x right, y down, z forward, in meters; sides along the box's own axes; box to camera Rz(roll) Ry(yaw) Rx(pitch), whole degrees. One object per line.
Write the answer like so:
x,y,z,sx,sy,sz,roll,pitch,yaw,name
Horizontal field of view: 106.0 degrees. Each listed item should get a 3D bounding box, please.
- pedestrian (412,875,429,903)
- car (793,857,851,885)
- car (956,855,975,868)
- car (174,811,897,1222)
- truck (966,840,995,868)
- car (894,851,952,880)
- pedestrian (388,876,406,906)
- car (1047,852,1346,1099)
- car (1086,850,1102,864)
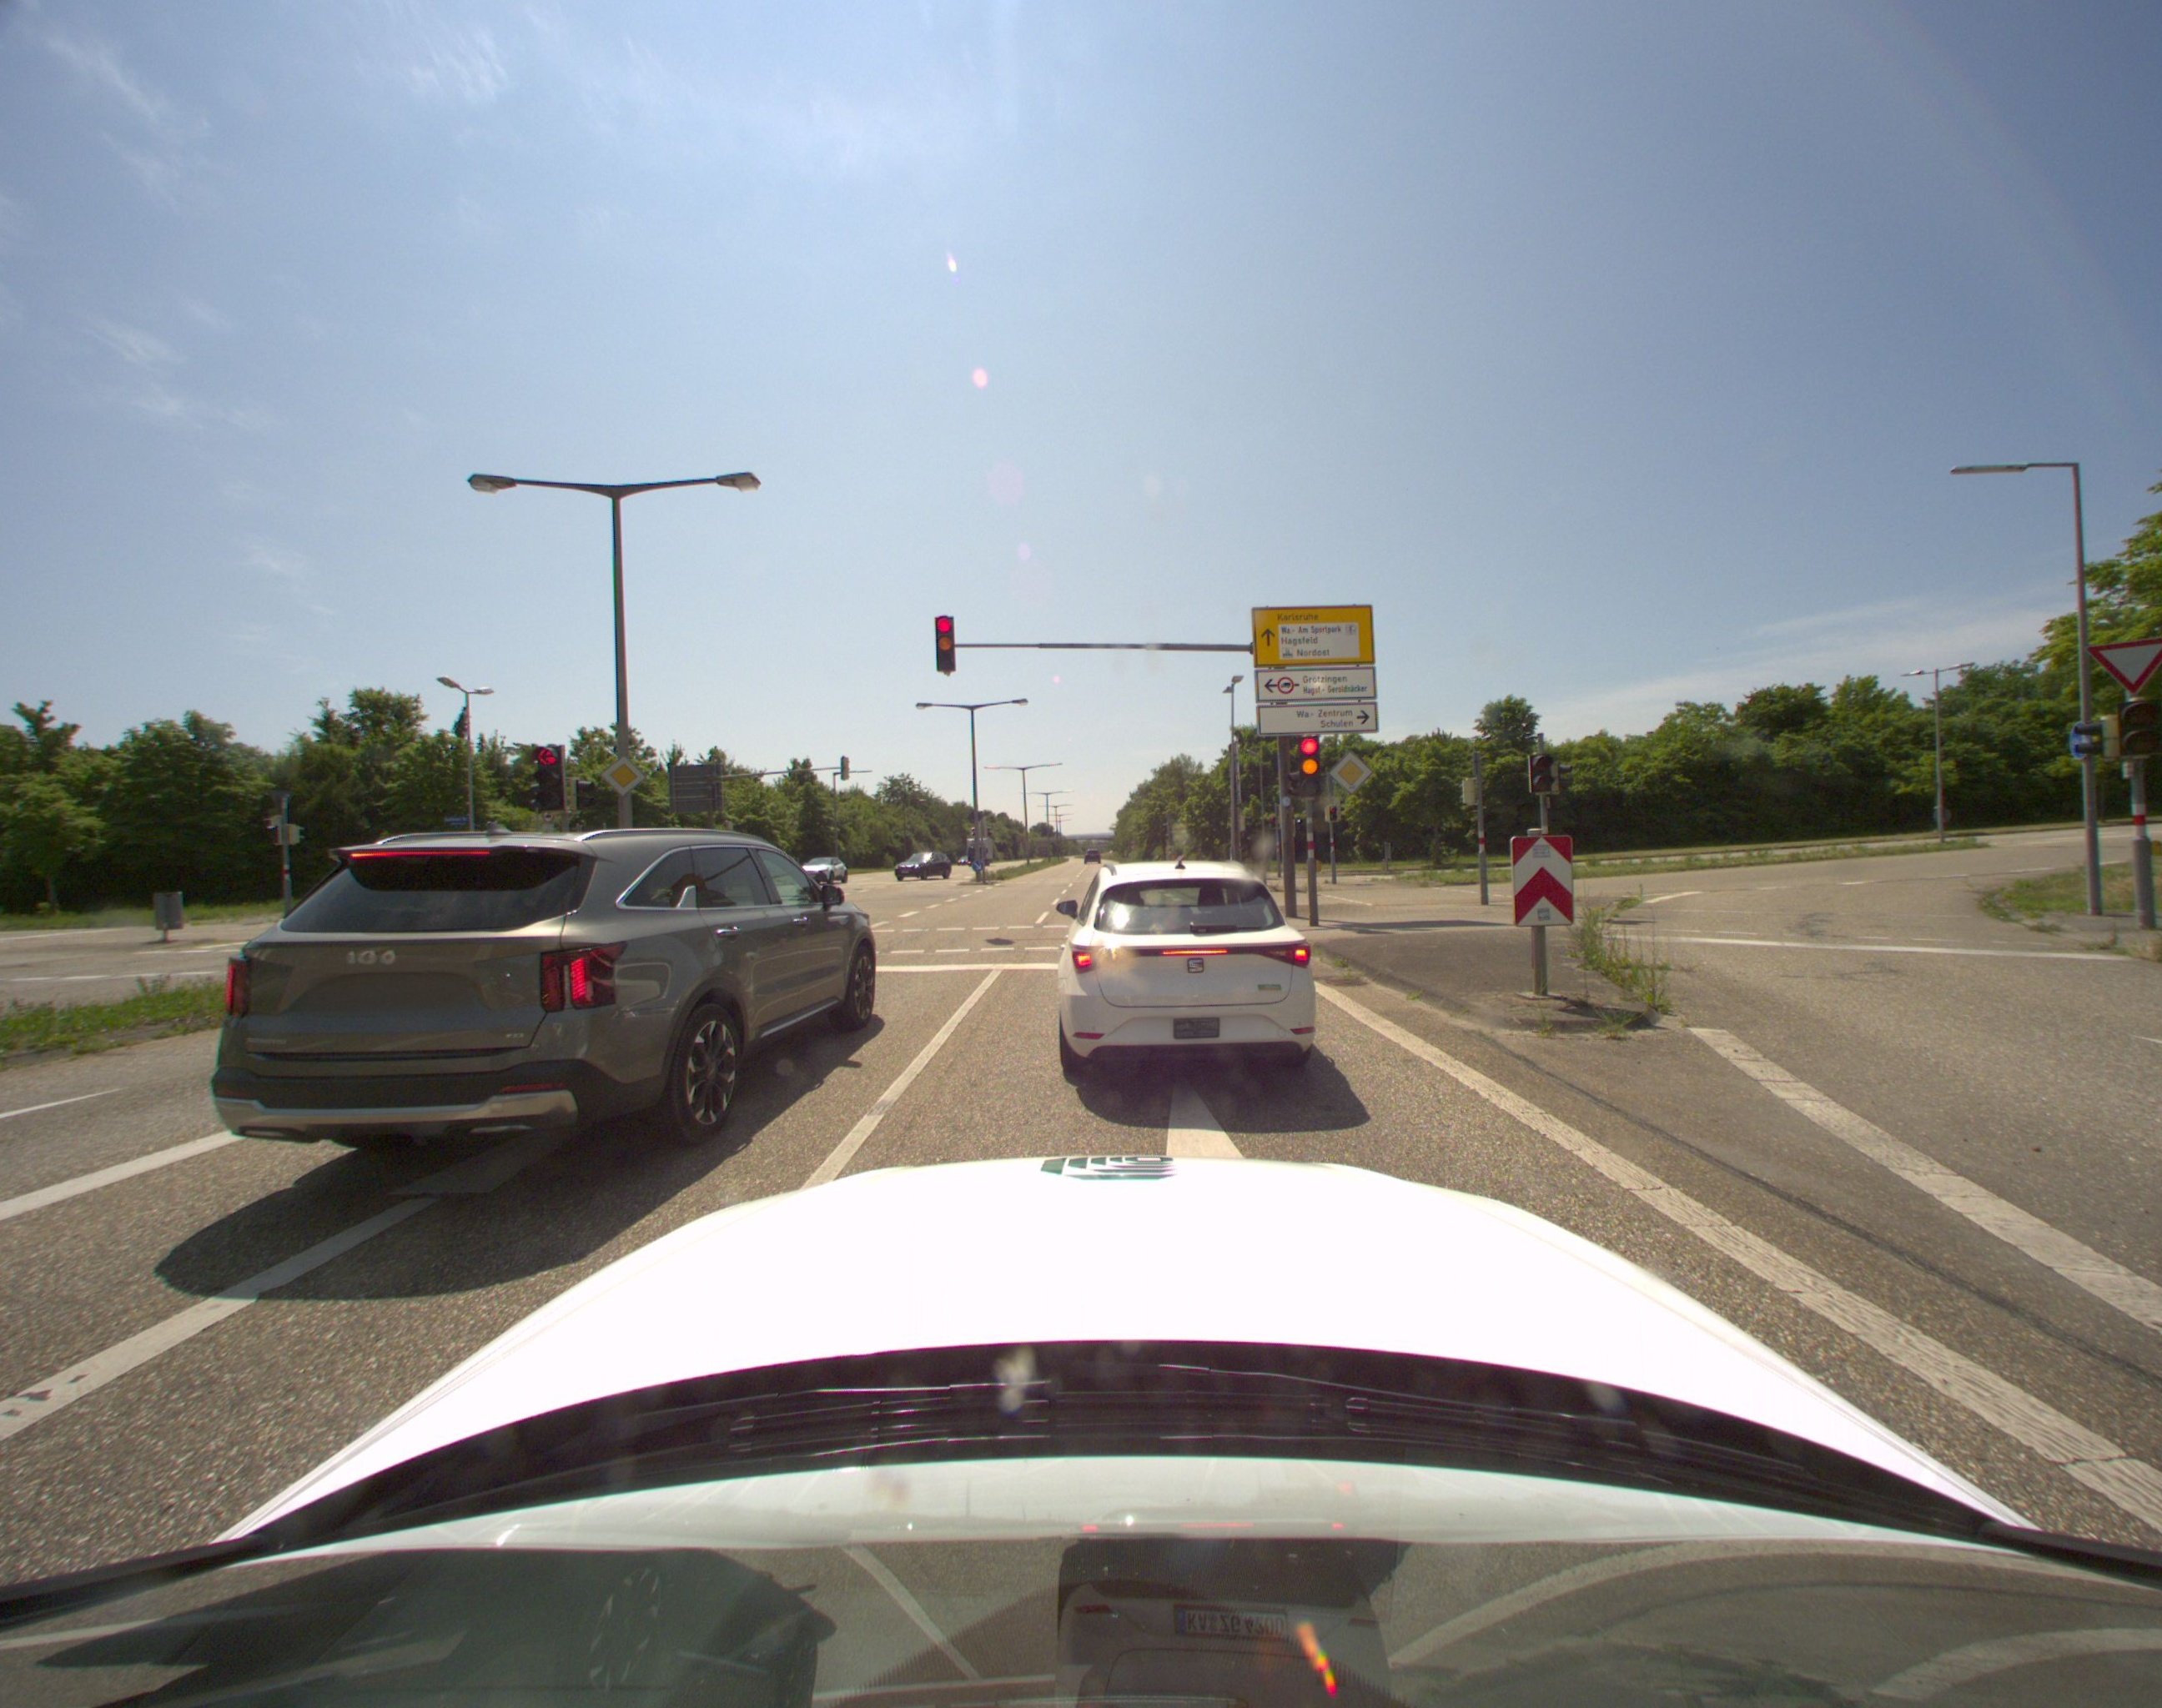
-36.652,1.940,45.190,0.620,1.503,0.790,-2,0,-34,pedestrian
-14.723,0.926,46.488,1.816,1.455,4.170,-2,0,2,car
-16.626,1.050,117.379,1.816,1.732,4.928,-2,0,2,car
-2.813,0.681,5.727,1.797,1.662,4.646,-2,0,2,car
-13.081,-0.024,106.566,2.677,3.570,7.269,-2,0,1,truck
-9.781,0.683,50.627,1.693,1.663,4.242,-2,0,17,car
-37.500,2.009,44.663,0.620,1.603,0.790,-2,0,-34,pedestrian
0.731,0.726,6.599,1.728,1.428,3.696,0,-1,2,car
1.692,0.360,103.389,1.848,1.709,4.002,-2,0,2,car
